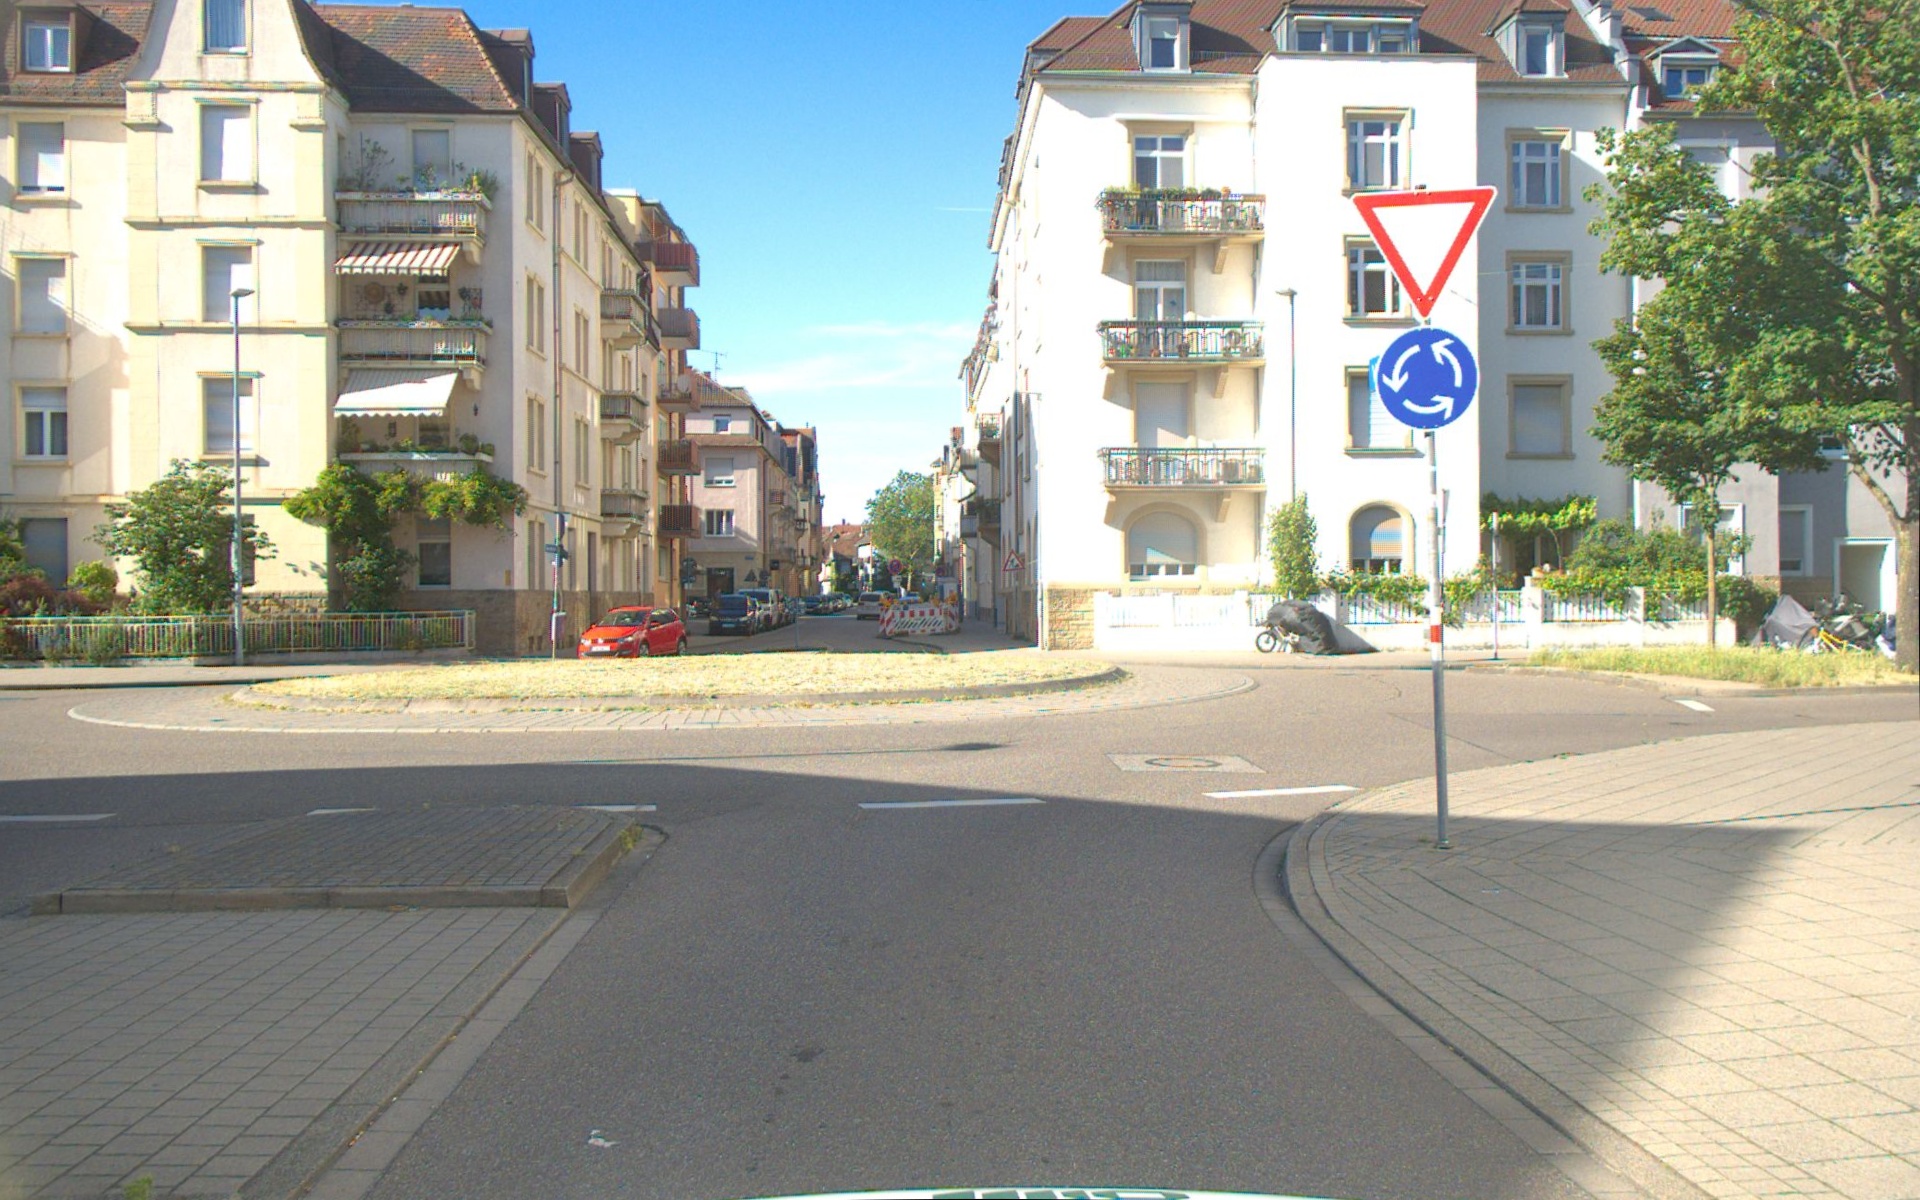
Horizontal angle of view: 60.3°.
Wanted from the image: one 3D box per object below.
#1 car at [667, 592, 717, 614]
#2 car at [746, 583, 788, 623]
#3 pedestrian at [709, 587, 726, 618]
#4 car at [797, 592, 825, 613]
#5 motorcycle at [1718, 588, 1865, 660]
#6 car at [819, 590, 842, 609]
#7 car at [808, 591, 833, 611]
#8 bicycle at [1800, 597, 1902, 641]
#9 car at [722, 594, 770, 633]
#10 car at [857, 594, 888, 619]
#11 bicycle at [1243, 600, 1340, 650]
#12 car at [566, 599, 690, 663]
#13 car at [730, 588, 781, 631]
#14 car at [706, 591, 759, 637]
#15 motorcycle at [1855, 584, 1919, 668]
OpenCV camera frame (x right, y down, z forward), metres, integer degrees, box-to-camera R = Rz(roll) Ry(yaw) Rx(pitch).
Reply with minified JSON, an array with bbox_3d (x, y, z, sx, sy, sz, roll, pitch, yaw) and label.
[{"bbox_3d":[-18.205,0.191,112.338,3.472,1.464,1.693,2,1,44],"label":"car"},{"bbox_3d":[-9.809,0.138,84.344,1.727,1.959,4.932,0,0,-2],"label":"car"},{"bbox_3d":[-14.406,0.142,98.246,0.906,1.849,0.993,0,0,-6],"label":"pedestrian"},{"bbox_3d":[-11.005,0.210,122.543,1.645,1.451,4.273,2,-1,0],"label":"car"},{"bbox_3d":[15.746,0.429,31.434,1.102,1.290,2.778,-1,0,-9],"label":"motorcycle"},{"bbox_3d":[-12.035,-0.050,153.922,1.963,1.647,4.484,2,-1,-3],"label":"car"},{"bbox_3d":[-11.807,0.105,140.170,1.963,1.647,4.484,2,-1,-3],"label":"car"},{"bbox_3d":[22.450,0.476,41.682,2.204,1.078,0.682,-1,0,-2],"label":"bicycle"},{"bbox_3d":[-9.330,0.574,72.382,1.727,1.649,4.293,0,0,-2],"label":"car"},{"bbox_3d":[-5.454,0.413,103.312,1.801,1.456,4.027,-2,-1,-2],"label":"car"},{"bbox_3d":[8.056,0.587,40.228,2.244,1.178,0.762,0,0,41],"label":"bicycle"},{"bbox_3d":[-8.442,0.761,42.386,1.675,1.406,4.004,-2,1,11],"label":"car"},{"bbox_3d":[-9.580,0.426,77.971,1.936,1.959,5.307,0,0,-2],"label":"car"},{"bbox_3d":[-9.158,0.530,66.887,1.727,1.802,4.292,0,0,-2],"label":"car"},{"bbox_3d":[15.880,0.420,27.360,0.844,1.351,2.051,-1,0,-7],"label":"motorcycle"}]
